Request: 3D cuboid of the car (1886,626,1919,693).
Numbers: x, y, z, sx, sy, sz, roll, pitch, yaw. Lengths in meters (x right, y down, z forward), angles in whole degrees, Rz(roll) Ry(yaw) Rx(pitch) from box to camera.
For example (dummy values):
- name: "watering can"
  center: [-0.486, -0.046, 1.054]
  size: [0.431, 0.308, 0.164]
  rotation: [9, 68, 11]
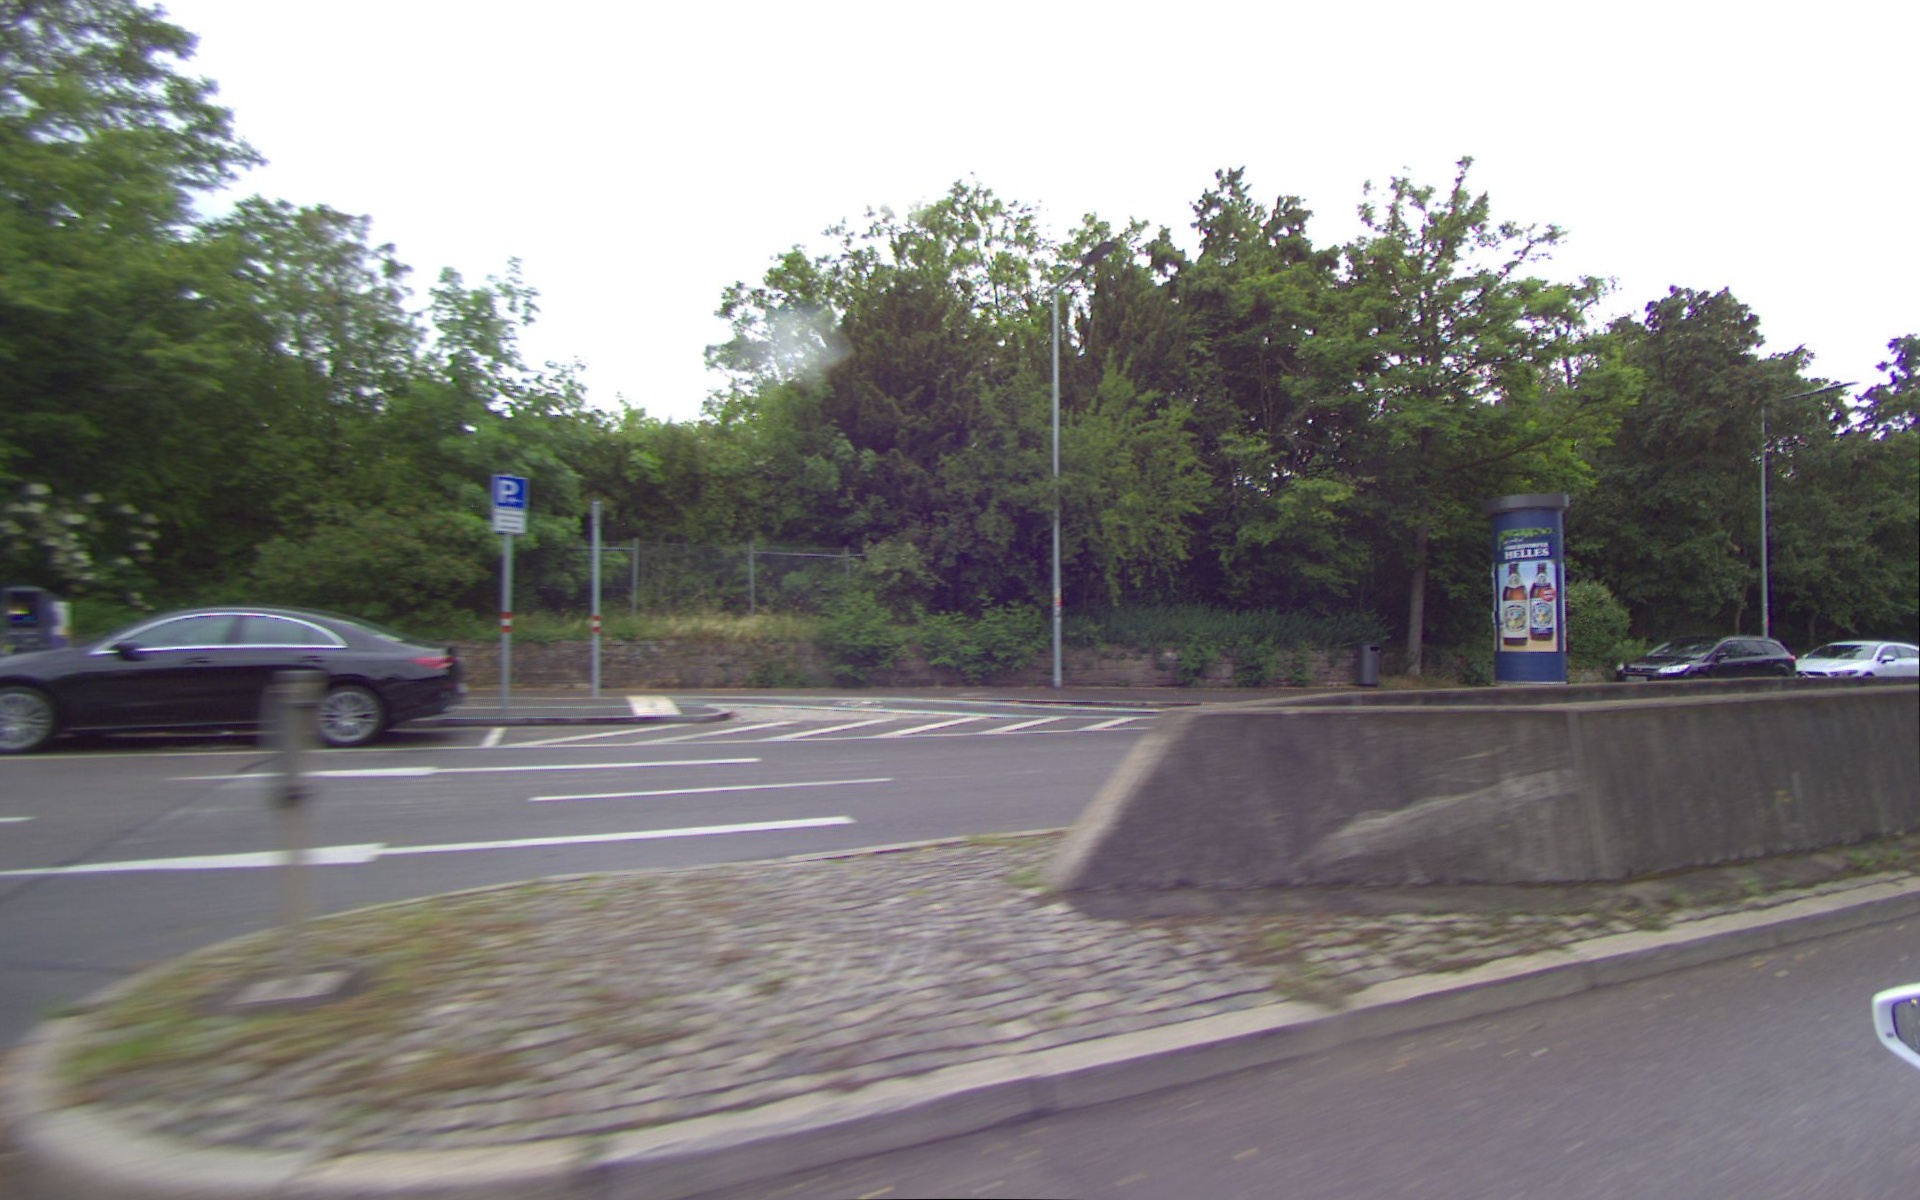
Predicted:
- name: "car"
  center: [28.112, 1.651, 27.659]
  size: [4.889, 1.788, 1.989]
  rotation: [1, -2, -23]

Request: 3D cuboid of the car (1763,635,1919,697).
- name: "car"
  center: [22.879, 1.639, 25.624]
  size: [4.639, 1.479, 1.715]
  rotation: [1, -2, -22]

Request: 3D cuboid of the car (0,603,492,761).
- name: "car"
  center: [-7.661, 0.826, 10.708]
  size: [4.715, 1.433, 1.902]
  rotation: [2, -1, -23]

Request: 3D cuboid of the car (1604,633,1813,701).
- name: "car"
  center: [17.501, 1.530, 23.490]
  size: [4.517, 1.464, 1.747]
  rotation: [1, -2, -20]
